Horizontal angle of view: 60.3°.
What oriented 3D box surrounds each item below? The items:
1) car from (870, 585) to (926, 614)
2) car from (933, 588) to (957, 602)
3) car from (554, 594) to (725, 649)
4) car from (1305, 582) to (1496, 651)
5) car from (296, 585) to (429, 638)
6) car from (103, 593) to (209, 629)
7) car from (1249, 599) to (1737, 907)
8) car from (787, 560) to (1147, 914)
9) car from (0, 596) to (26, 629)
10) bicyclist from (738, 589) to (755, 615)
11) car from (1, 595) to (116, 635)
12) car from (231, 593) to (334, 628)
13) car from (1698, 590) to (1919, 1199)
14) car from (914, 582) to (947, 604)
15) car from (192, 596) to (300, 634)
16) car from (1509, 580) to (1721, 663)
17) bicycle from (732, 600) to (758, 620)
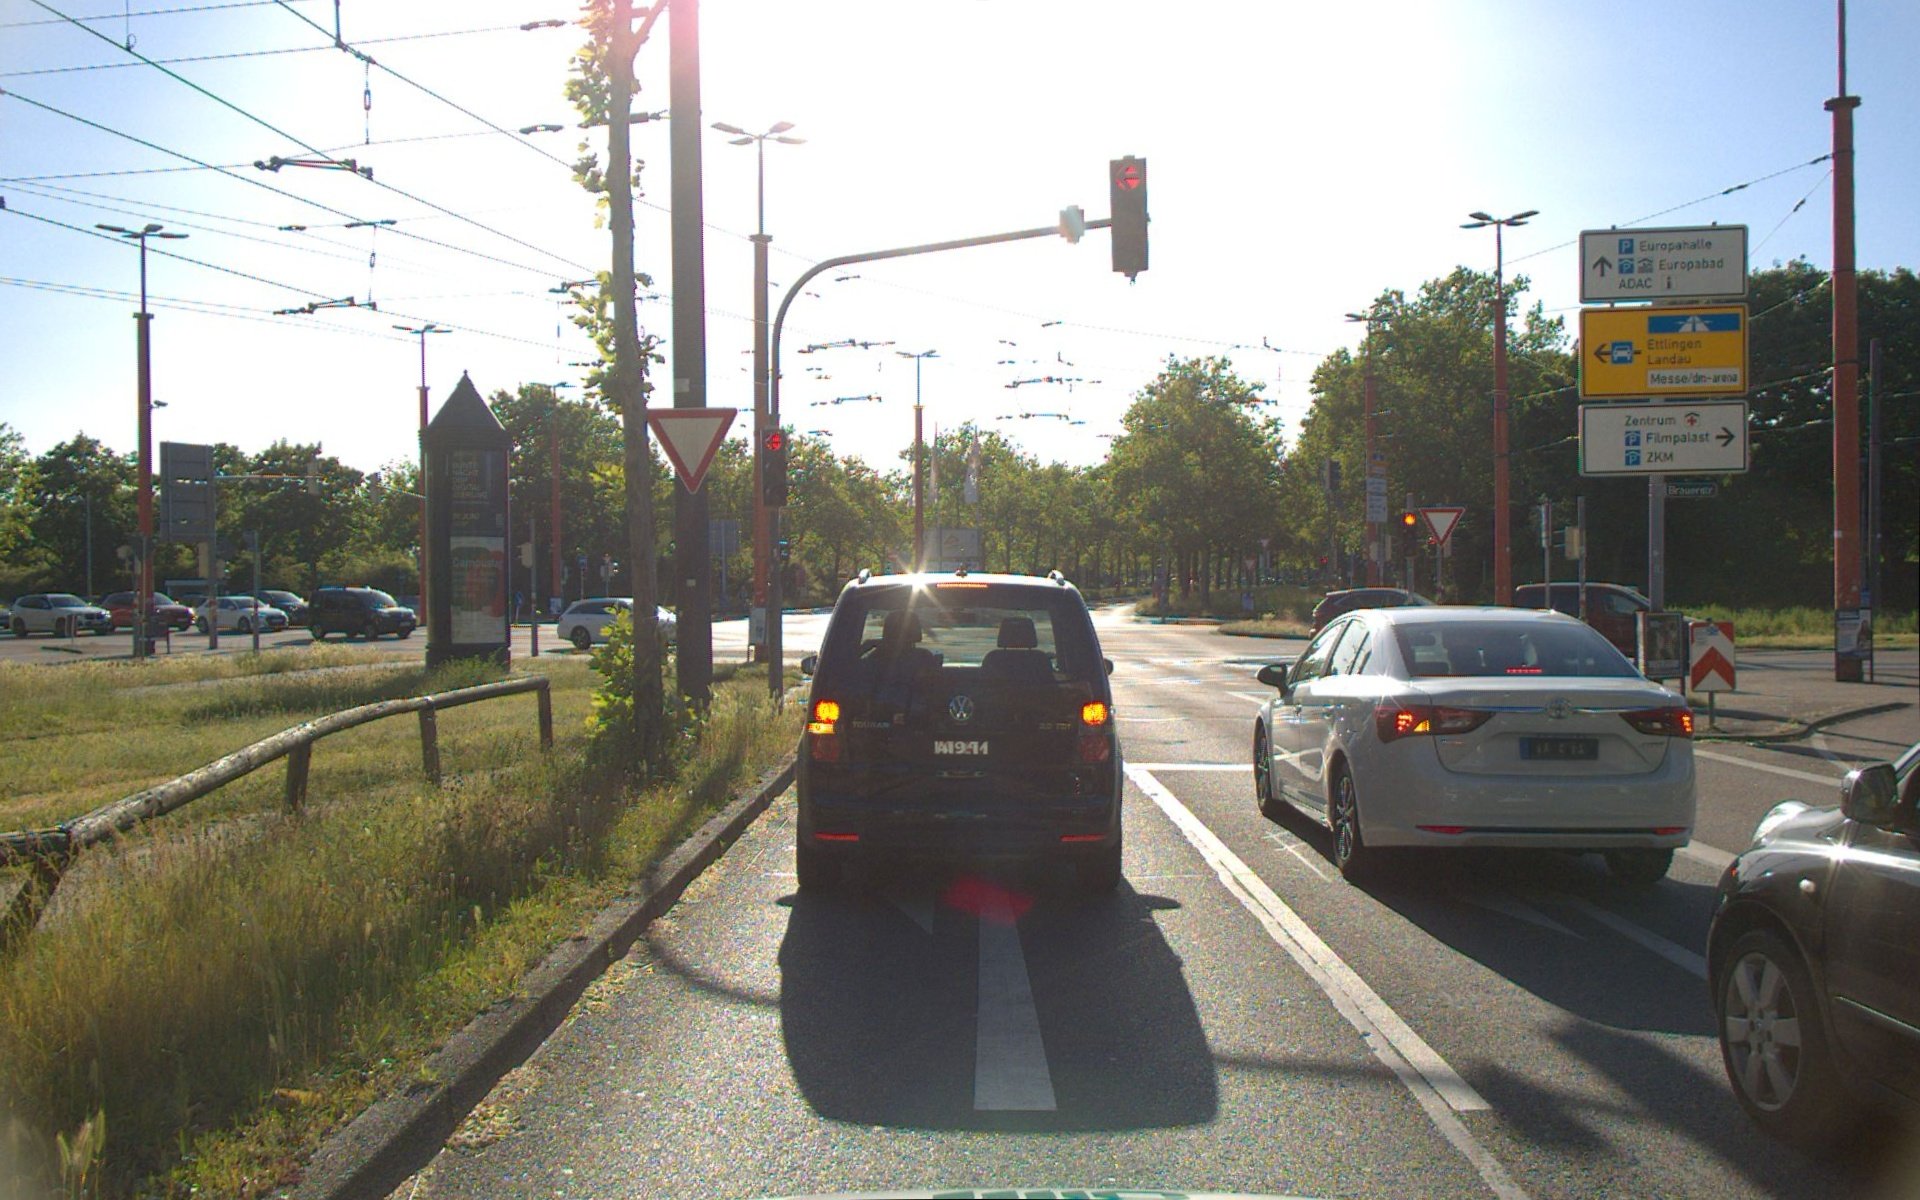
[{"bbox_3d":[-3.725,-0.013,100.600,1.951,1.714,4.831,0,0,17],"label":"car"},{"bbox_3d":[-1.452,-0.447,159.244,1.622,1.333,3.818,0,0,11],"label":"car"},{"bbox_3d":[-9.626,0.614,49.577,4.818,1.602,1.998,0,0,26],"label":"car"},{"bbox_3d":[11.321,0.397,42.561,4.463,1.697,1.840,0,0,28],"label":"car"},{"bbox_3d":[-21.749,0.397,60.178,4.687,1.868,1.912,0,0,27],"label":"car"},{"bbox_3d":[-34.333,0.445,70.603,4.275,1.489,1.912,0,0,27],"label":"car"},{"bbox_3d":[2.949,0.739,10.096,1.679,1.480,4.144,0,0,0],"label":"car"},{"bbox_3d":[0.007,0.642,9.851,1.702,1.670,3.999,0,0,-1],"label":"car"},{"bbox_3d":[-45.050,0.581,75.758,4.143,1.489,1.913,0,0,26],"label":"car"},{"bbox_3d":[-12.198,0.091,94.427,0.678,1.483,0.875,0,0,17],"label":"bicyclist"},{"bbox_3d":[-37.420,0.595,68.649,4.687,1.626,1.912,0,0,27],"label":"car"},{"bbox_3d":[-29.264,0.447,71.388,4.127,1.489,1.912,0,0,27],"label":"car"},{"bbox_3d":[3.128,0.742,3.496,1.525,1.532,3.515,0,0,-1],"label":"car"},{"bbox_3d":[-2.316,-0.590,132.680,1.951,1.714,4.832,0,0,7],"label":"car"},{"bbox_3d":[-29.344,0.603,67.979,4.127,1.489,1.912,0,0,27],"label":"car"},{"bbox_3d":[14.648,0.451,37.014,4.260,1.762,1.840,0,0,28],"label":"car"},{"bbox_3d":[-12.229,0.566,94.207,0.719,1.109,1.962,0,0,18],"label":"bicycle"}]
